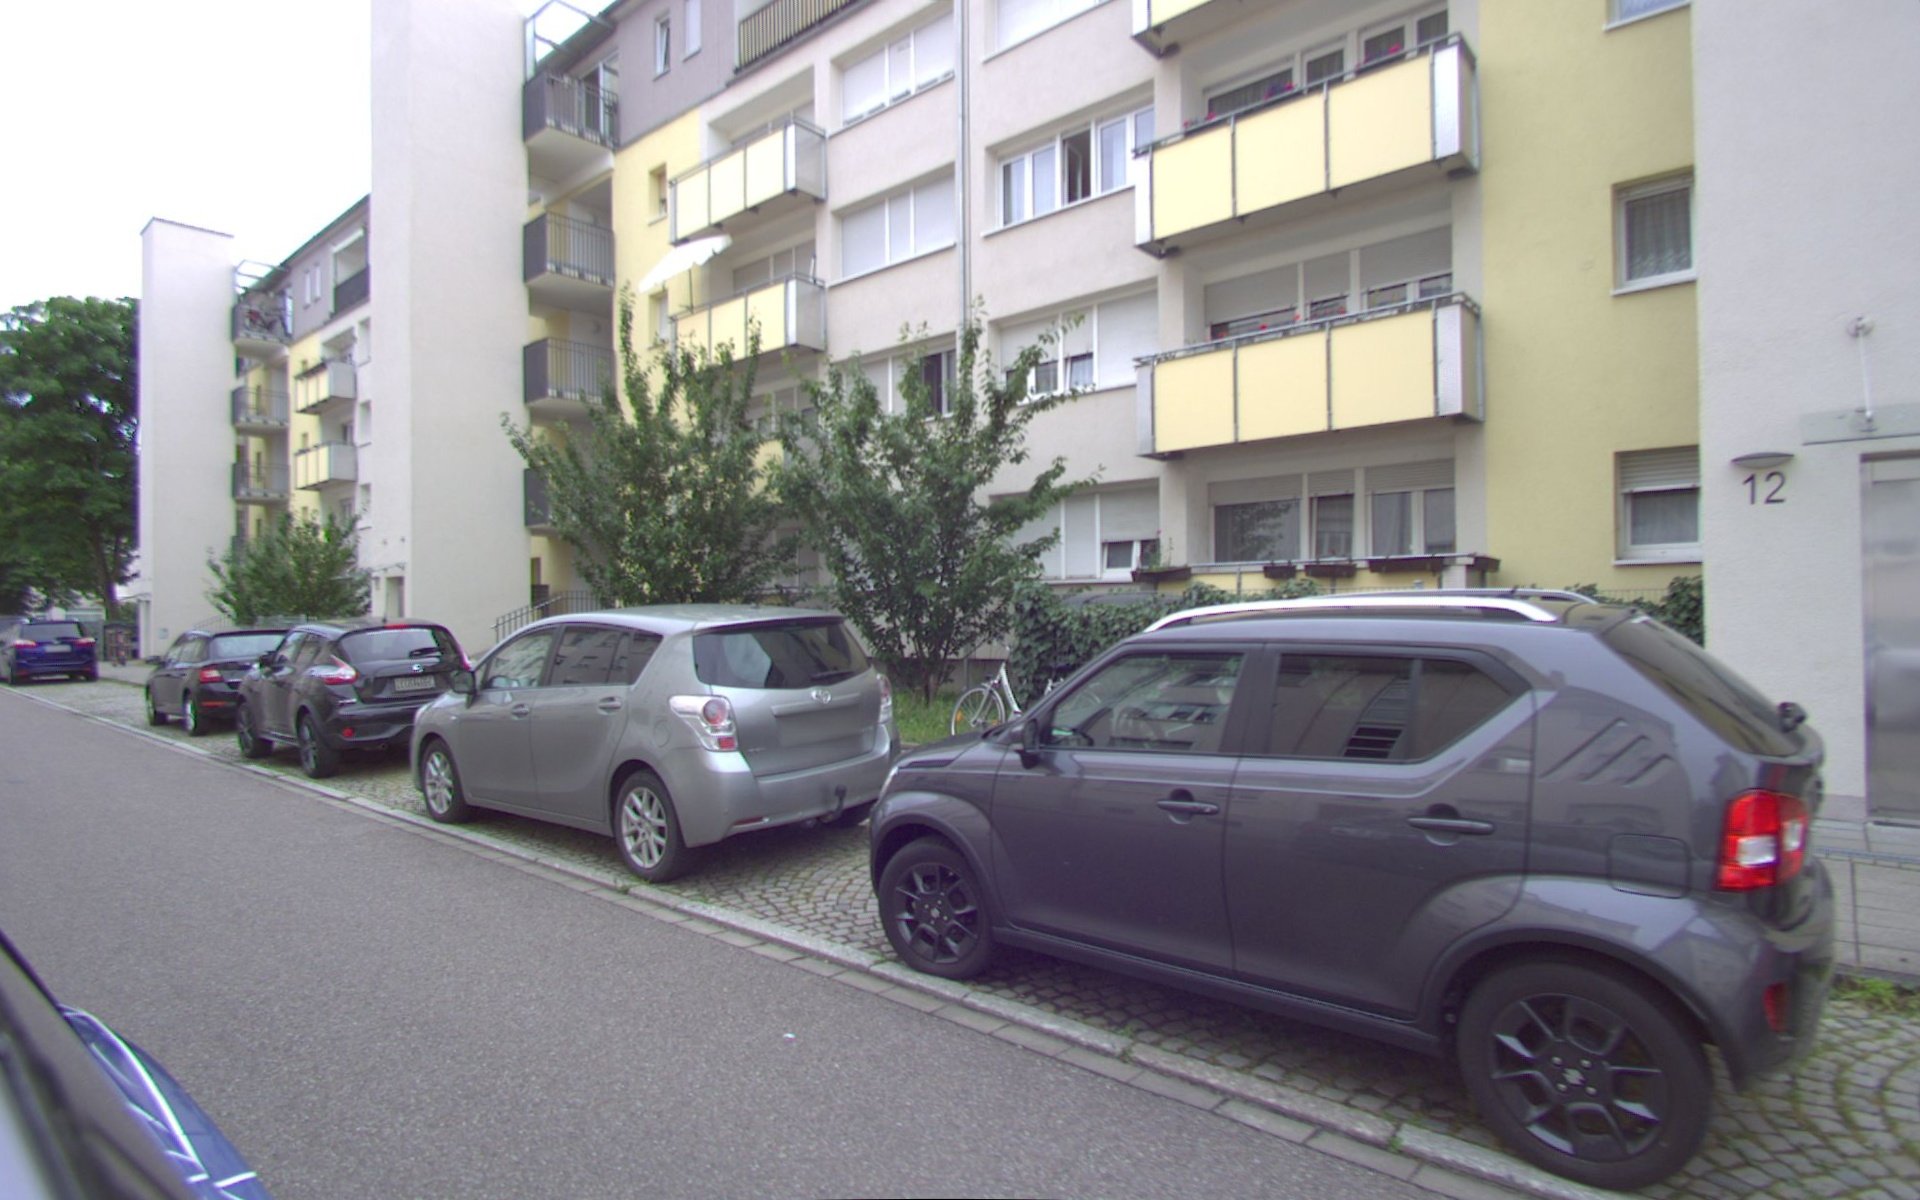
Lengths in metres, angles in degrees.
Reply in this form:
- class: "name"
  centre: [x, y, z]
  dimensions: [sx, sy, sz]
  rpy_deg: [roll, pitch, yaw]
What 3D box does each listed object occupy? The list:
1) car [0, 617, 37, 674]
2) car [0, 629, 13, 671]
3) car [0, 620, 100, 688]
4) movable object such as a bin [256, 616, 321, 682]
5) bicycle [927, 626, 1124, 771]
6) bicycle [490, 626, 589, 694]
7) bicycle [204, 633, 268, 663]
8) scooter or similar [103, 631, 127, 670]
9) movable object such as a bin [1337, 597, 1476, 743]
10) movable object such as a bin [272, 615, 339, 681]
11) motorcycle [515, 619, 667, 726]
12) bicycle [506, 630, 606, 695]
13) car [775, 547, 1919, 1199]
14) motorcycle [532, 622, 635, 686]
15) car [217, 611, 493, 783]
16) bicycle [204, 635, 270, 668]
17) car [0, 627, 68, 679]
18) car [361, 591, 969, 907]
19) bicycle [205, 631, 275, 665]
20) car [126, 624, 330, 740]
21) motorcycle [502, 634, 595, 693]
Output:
- class: "car"
  centre: [-33.832, 1.581, 35.282]
  dimensions: [4.782, 1.869, 1.867]
  rpy_deg: [-2, -2, 40]
- class: "car"
  centre: [-37.750, 1.909, 38.827]
  dimensions: [3.611, 1.580, 1.604]
  rpy_deg: [-2, -2, 40]
- class: "car"
  centre: [-24.609, 1.399, 27.082]
  dimensions: [4.469, 1.639, 1.781]
  rpy_deg: [-2, -1, 41]
- class: "movable object such as a bin"
  centre: [-16.191, 1.157, 24.387]
  dimensions: [1.314, 1.512, 0.991]
  rpy_deg: [-2, -1, 42]
- class: "bicycle"
  centre: [0.562, 0.837, 9.087]
  dimensions: [1.723, 1.201, 0.547]
  rpy_deg: [-1, -2, 34]
- class: "bicycle"
  centre: [-8.057, 1.125, 19.452]
  dimensions: [0.608, 1.234, 1.707]
  rpy_deg: [-2, -2, 36]
- class: "bicycle"
  centre: [-26.276, 1.722, 36.732]
  dimensions: [1.829, 1.028, 0.671]
  rpy_deg: [1, -2, -42]
- class: "scooter or similar"
  centre: [-28.184, 1.682, 33.771]
  dimensions: [1.135, 1.253, 0.432]
  rpy_deg: [-2, -2, 41]
- class: "movable object such as a bin"
  centre: [4.393, 0.660, 9.959]
  dimensions: [1.036, 1.334, 0.883]
  rpy_deg: [-2, -2, 40]
- class: "movable object such as a bin"
  centre: [-15.138, 1.100, 23.412]
  dimensions: [1.314, 1.458, 0.991]
  rpy_deg: [-2, -1, 42]
- class: "motorcycle"
  centre: [-5.050, 0.942, 13.751]
  dimensions: [2.419, 1.316, 0.860]
  rpy_deg: [-2, -1, 41]
- class: "bicycle"
  centre: [-7.573, 1.149, 19.032]
  dimensions: [0.608, 1.151, 1.707]
  rpy_deg: [-2, -2, 36]
- class: "car"
  centre: [1.226, 0.698, 4.078]
  dimensions: [4.052, 1.582, 1.703]
  rpy_deg: [-2, 0, 41]
- class: "motorcycle"
  centre: [-6.960, 0.984, 18.778]
  dimensions: [0.593, 1.138, 1.732]
  rpy_deg: [-2, -3, 37]
- class: "car"
  centre: [-6.883, 0.950, 11.353]
  dimensions: [3.895, 1.542, 1.635]
  rpy_deg: [-2, 0, 43]
- class: "bicycle"
  centre: [-25.827, 1.829, 36.173]
  dimensions: [1.829, 1.146, 0.717]
  rpy_deg: [1, -2, -42]
- class: "car"
  centre: [-28.954, 1.611, 31.123]
  dimensions: [3.813, 1.456, 1.605]
  rpy_deg: [-2, -1, 38]
- class: "car"
  centre: [-2.409, 0.815, 7.420]
  dimensions: [4.856, 1.582, 1.817]
  rpy_deg: [-2, 0, 39]
- class: "bicycle"
  centre: [-24.817, 1.638, 34.920]
  dimensions: [0.716, 1.146, 1.834]
  rpy_deg: [-2, -2, 38]
- class: "car"
  centre: [-11.015, 1.134, 15.139]
  dimensions: [3.854, 1.449, 1.626]
  rpy_deg: [-2, 0, 41]
- class: "motorcycle"
  centre: [-8.259, 1.261, 20.373]
  dimensions: [0.689, 1.138, 1.600]
  rpy_deg: [-2, -3, 37]
